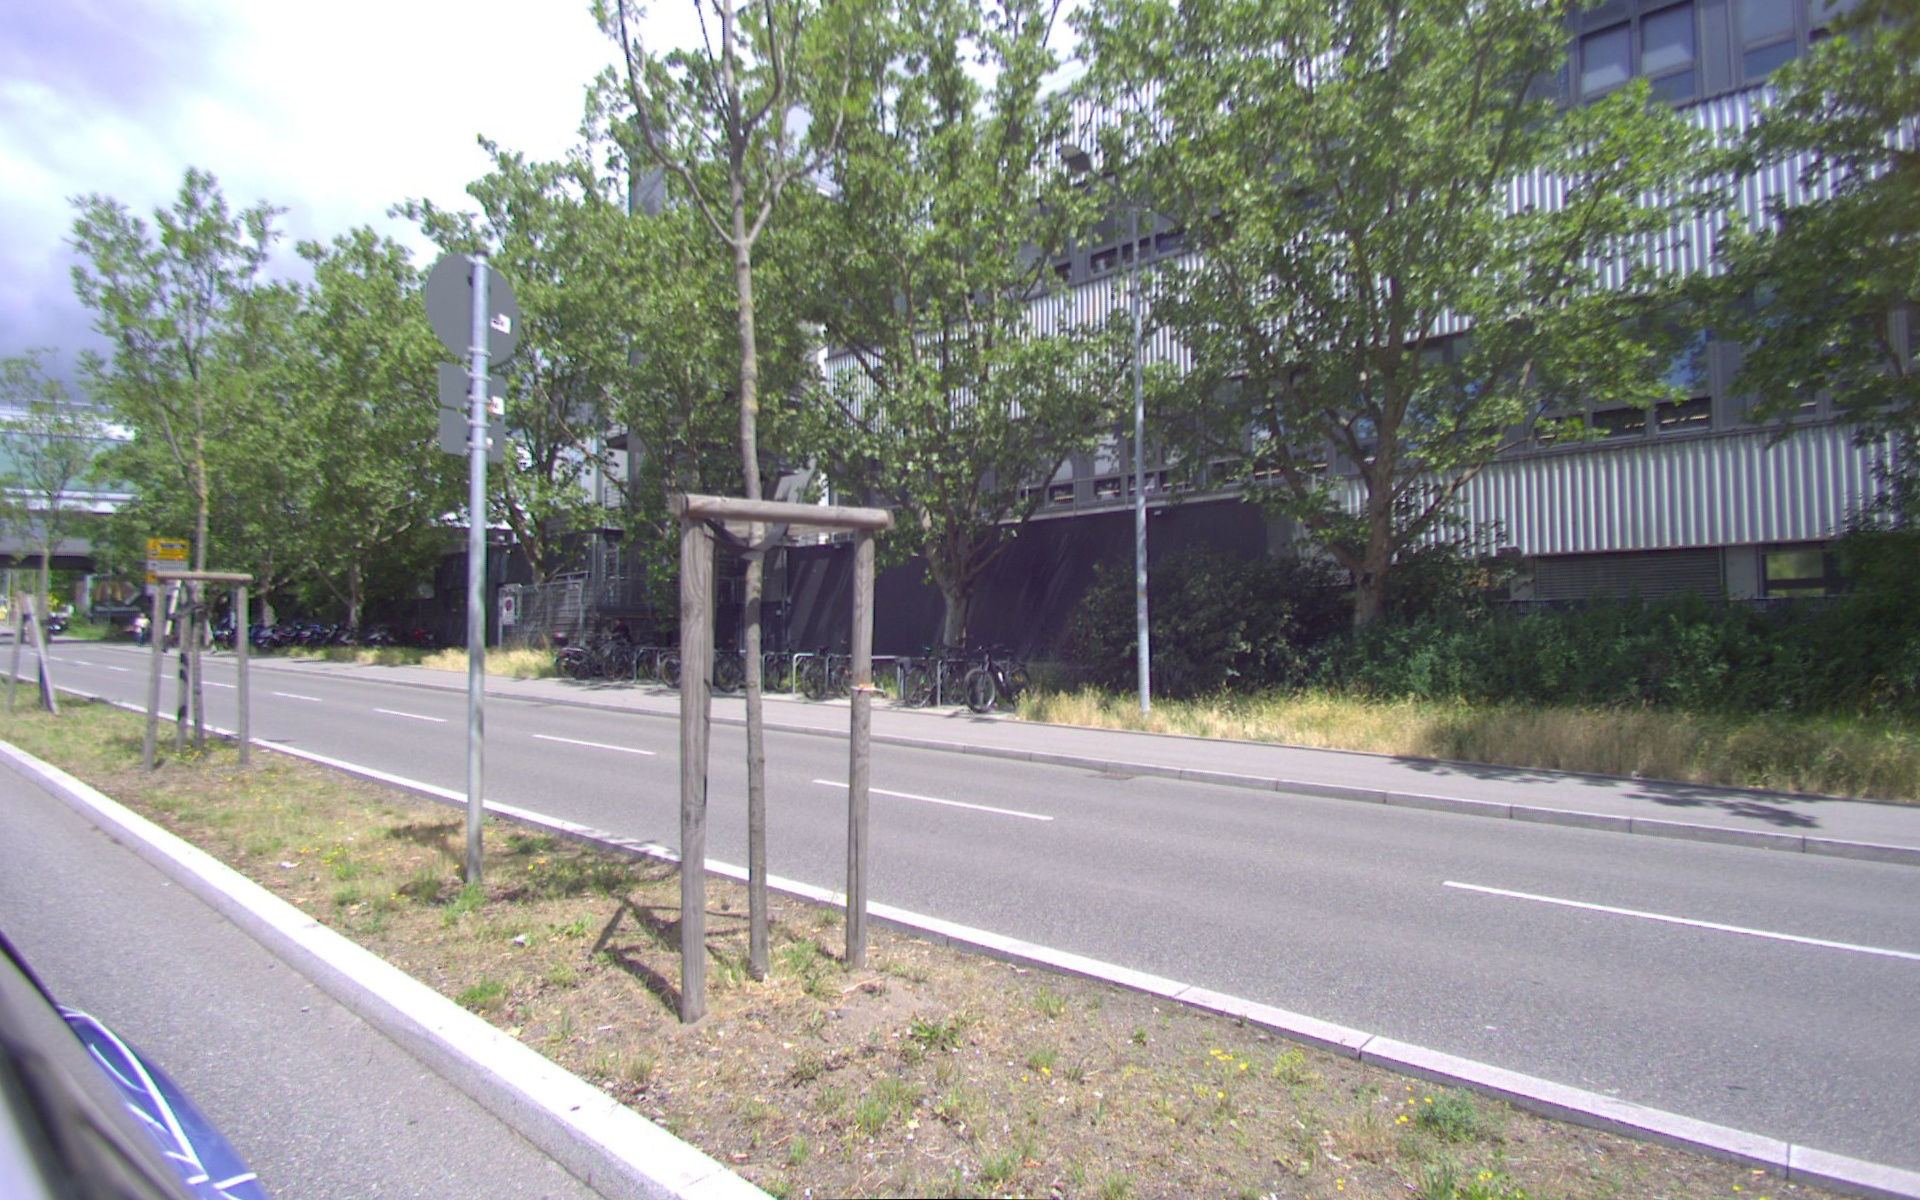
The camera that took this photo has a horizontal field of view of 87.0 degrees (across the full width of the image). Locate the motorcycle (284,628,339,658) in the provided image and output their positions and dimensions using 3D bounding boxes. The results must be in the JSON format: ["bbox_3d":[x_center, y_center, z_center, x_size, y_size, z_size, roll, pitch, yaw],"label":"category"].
[{"bbox_3d":[-27.907,1.862,43.556,0.698,1.188,1.857,-3,-1,43],"label":"motorcycle"}]

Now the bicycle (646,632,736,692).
[{"bbox_3d":[-6.135,1.393,23.179,0.805,1.292,1.899,-1,-1,38],"label":"bicycle"}]

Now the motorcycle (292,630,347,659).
[{"bbox_3d":[-26.497,1.838,41.854,1.853,1.093,0.796,-2,-1,-35],"label":"motorcycle"}]

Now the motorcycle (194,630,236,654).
[{"bbox_3d":[-38.149,2.156,51.825,0.776,1.131,1.574,-3,-1,41],"label":"motorcycle"}]

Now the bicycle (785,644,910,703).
[{"bbox_3d":[-2.219,1.439,20.346,2.532,1.104,0.697,2,-3,-40],"label":"bicycle"}]

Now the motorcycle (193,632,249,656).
[{"bbox_3d":[-35.830,2.131,49.091,0.917,1.124,1.919,0,-3,28],"label":"motorcycle"}]

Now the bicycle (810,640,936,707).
[{"bbox_3d":[-1.652,1.398,19.684,2.533,1.166,0.645,0,-1,-40],"label":"bicycle"}]

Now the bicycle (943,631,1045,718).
[{"bbox_3d":[0.614,1.239,17.362,0.489,1.374,2.144,-2,-2,42],"label":"bicycle"}]

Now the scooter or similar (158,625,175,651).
[{"bbox_3d":[-39.172,1.857,49.954,1.478,1.245,0.350,0,0,40],"label":"scooter or similar"}]

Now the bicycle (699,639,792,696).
[{"bbox_3d":[-4.627,1.423,21.920,0.805,1.131,1.899,-1,-1,38],"label":"bicycle"}]

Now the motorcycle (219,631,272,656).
[{"bbox_3d":[-34.148,2.069,48.395,1.904,1.124,0.924,-2,-1,-23],"label":"motorcycle"}]

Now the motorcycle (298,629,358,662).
[{"bbox_3d":[-24.531,1.758,39.304,1.855,1.182,0.746,-2,-1,-41],"label":"motorcycle"}]

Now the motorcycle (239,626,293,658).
[{"bbox_3d":[-31.339,1.887,45.747,1.905,1.354,0.867,-2,-1,-29],"label":"motorcycle"}]

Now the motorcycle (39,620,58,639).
[{"bbox_3d":[-63.038,2.037,70.010,2.255,1.207,0.633,0,1,39],"label":"motorcycle"}]

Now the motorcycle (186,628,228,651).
[{"bbox_3d":[-39.184,2.048,52.670,0.773,1.131,1.579,-3,-1,31],"label":"motorcycle"}]

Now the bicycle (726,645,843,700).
[{"bbox_3d":[-3.696,1.505,21.645,0.848,1.014,2.814,-1,-1,31],"label":"bicycle"}]

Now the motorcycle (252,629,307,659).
[{"bbox_3d":[-29.474,1.919,43.851,1.855,1.188,0.816,-2,-1,-41],"label":"motorcycle"}]

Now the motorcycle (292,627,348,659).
[{"bbox_3d":[-27.044,1.808,42.778,0.655,1.219,1.857,-3,-1,43],"label":"motorcycle"}]

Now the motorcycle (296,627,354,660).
[{"bbox_3d":[-25.693,1.746,40.948,1.855,1.195,0.730,-2,0,-42],"label":"motorcycle"}]

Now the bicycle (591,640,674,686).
[{"bbox_3d":[-8.183,1.554,25.394,0.497,1.070,2.060,-1,-1,38],"label":"bicycle"}]

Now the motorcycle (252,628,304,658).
[{"bbox_3d":[-30.236,1.904,44.879,1.853,1.188,0.817,-2,-1,-35],"label":"motorcycle"}]

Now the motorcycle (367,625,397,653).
[{"bbox_3d":[-26.434,1.797,46.295,1.983,1.219,0.645,-3,-1,45],"label":"motorcycle"}]

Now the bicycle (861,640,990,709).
[{"bbox_3d":[-0.623,1.379,19.302,2.533,1.166,0.727,0,-1,-40],"label":"bicycle"}]

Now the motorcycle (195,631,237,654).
[{"bbox_3d":[-37.283,2.126,50.722,0.776,1.041,1.574,-3,-1,41],"label":"motorcycle"}]

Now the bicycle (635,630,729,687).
[{"bbox_3d":[-6.673,1.381,24.379,0.805,1.292,2.113,-1,-1,38],"label":"bicycle"}]

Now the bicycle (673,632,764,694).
[{"bbox_3d":[-5.369,1.379,22.574,0.805,1.292,1.899,-1,-1,38],"label":"bicycle"}]

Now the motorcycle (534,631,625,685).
[{"bbox_3d":[-9.854,1.470,26.267,0.805,1.319,2.113,-1,-1,38],"label":"motorcycle"}]

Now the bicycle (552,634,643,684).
[{"bbox_3d":[-9.280,1.481,25.976,0.805,1.189,2.113,-1,-1,38],"label":"bicycle"}]

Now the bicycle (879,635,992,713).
[{"bbox_3d":[-0.396,1.291,18.210,0.555,1.267,2.379,-2,-2,42],"label":"bicycle"}]

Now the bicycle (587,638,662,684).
[{"bbox_3d":[-8.506,1.529,25.740,0.422,1.083,1.905,-1,-1,38],"label":"bicycle"}]

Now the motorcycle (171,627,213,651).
[{"bbox_3d":[-40.777,2.075,53.730,1.721,1.180,0.777,-2,-1,-42],"label":"motorcycle"}]

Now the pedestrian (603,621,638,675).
[{"bbox_3d":[-10.118,1.408,30.125,0.744,1.563,0.822,0,-1,-40],"label":"pedestrian"}]

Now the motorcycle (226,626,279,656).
[{"bbox_3d":[-33.078,1.928,47.351,1.905,1.300,0.895,-2,-1,-29],"label":"motorcycle"}]

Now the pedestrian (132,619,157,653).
[{"bbox_3d":[-40.991,1.807,50.870,0.812,1.624,0.760,-1,1,39],"label":"pedestrian"}]
